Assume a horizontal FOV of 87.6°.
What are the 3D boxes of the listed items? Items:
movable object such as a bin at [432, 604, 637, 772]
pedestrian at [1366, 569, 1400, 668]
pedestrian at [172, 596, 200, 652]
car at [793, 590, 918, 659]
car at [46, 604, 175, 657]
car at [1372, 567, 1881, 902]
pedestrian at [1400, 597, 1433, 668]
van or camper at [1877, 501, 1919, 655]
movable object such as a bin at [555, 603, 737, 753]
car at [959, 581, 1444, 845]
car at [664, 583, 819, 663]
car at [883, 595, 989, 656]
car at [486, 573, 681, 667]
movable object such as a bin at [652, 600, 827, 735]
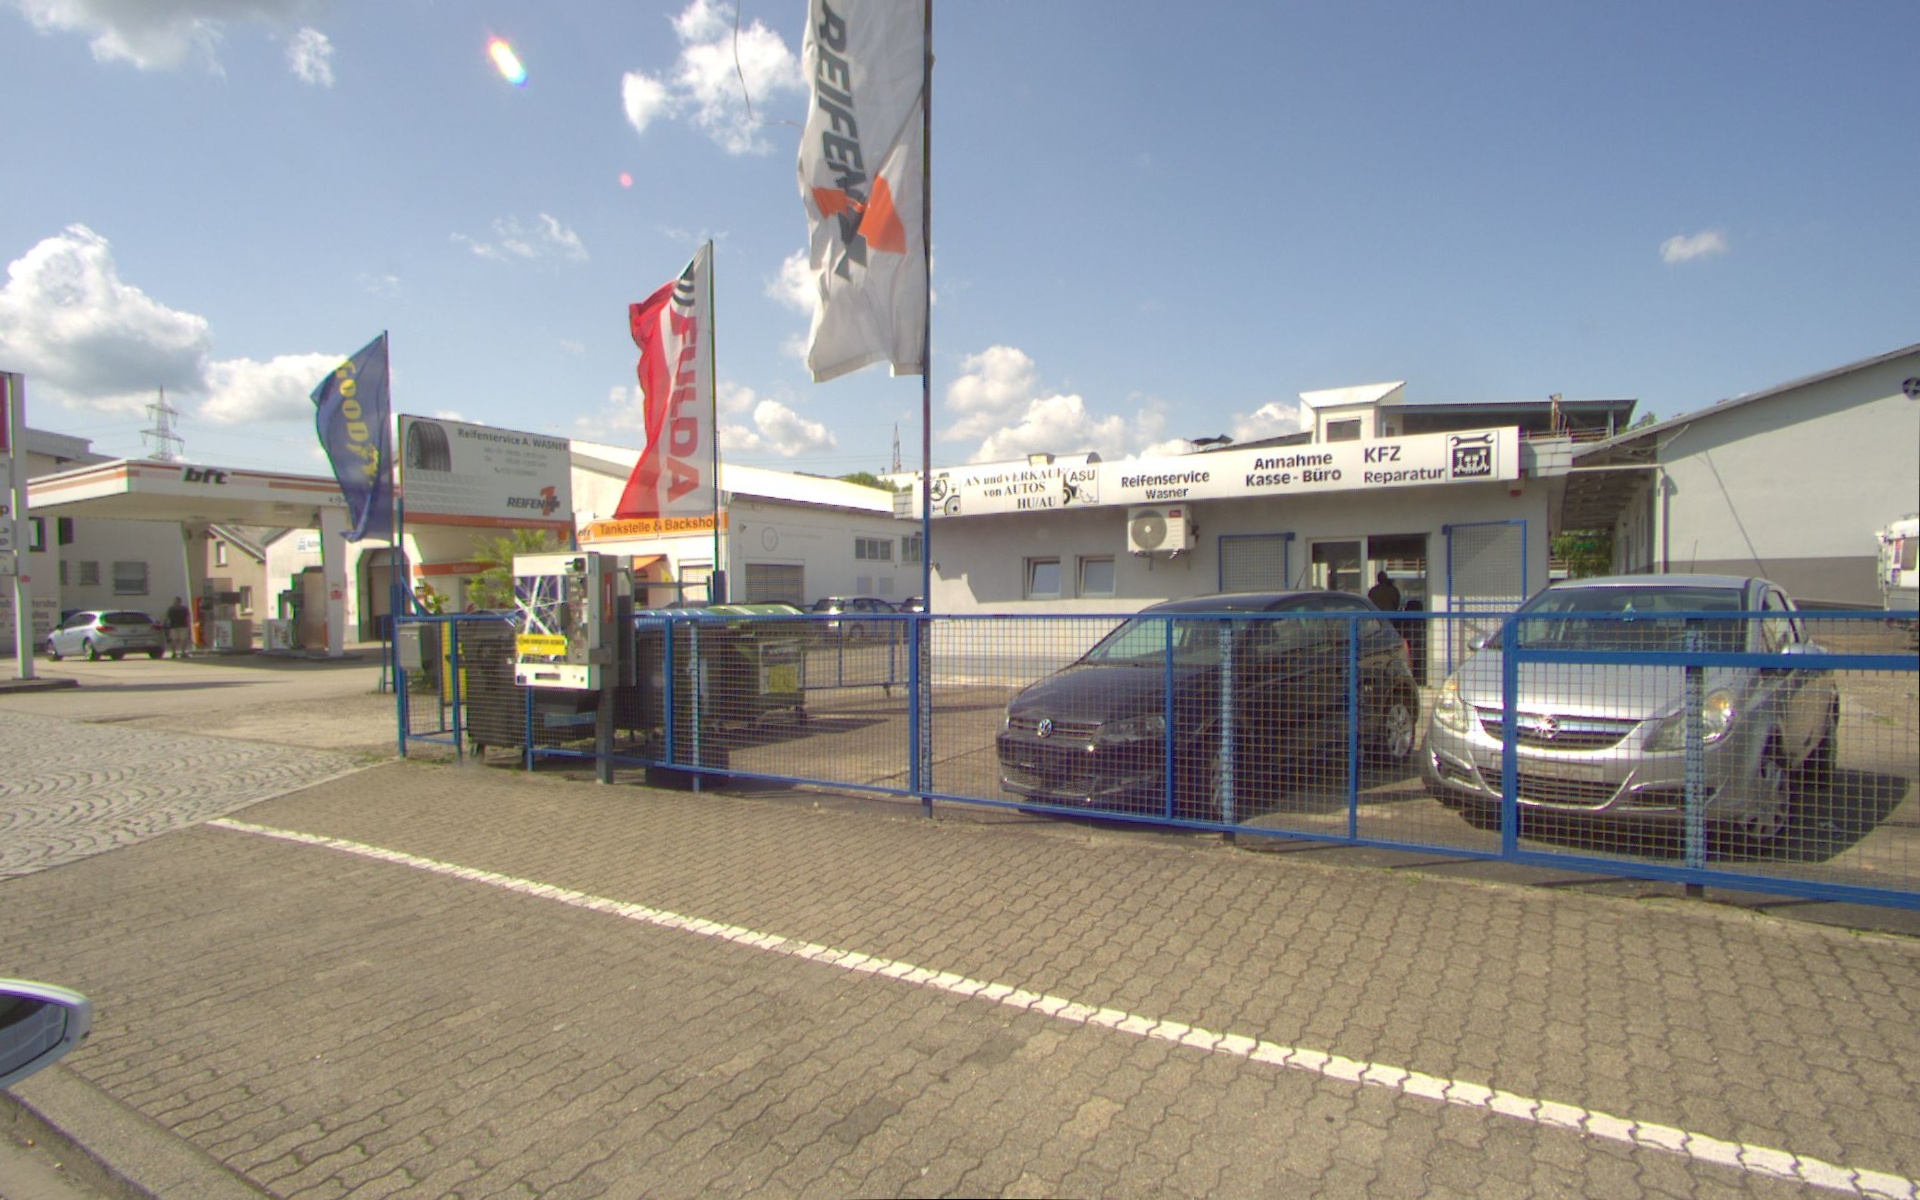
[{"bbox_3d":[-4.125,0.784,9.746,1.434,1.473,1.224,0,1,31],"label":"movable object such as a bin"},{"bbox_3d":[7.428,0.325,17.581,0.480,1.710,0.499,0,1,30],"label":"pedestrian"},{"bbox_3d":[-23.734,0.731,30.716,0.628,1.705,0.618,-1,1,-36],"label":"pedestrian"},{"bbox_3d":[-3.259,0.729,31.989,1.971,2.040,3.979,0,0,32],"label":"car"},{"bbox_3d":[-25.828,0.892,30.435,3.950,1.499,1.829,-1,1,31],"label":"car"},{"bbox_3d":[4.509,0.587,6.513,4.104,1.499,1.787,-1,0,-42],"label":"car"},{"bbox_3d":[7.985,0.562,17.527,0.480,1.229,0.499,0,1,30],"label":"pedestrian"},{"bbox_3d":[21.353,-0.460,19.323,4.983,3.002,2.276,0,1,31],"label":"van or camper"},{"bbox_3d":[-3.365,0.776,10.786,1.434,1.473,1.224,0,1,31],"label":"movable object such as a bin"},{"bbox_3d":[2.021,0.627,7.649,3.962,1.499,1.705,-1,1,-43],"label":"car"},{"bbox_3d":[-5.942,0.572,27.637,1.971,2.040,3.979,0,0,32],"label":"car"},{"bbox_3d":[-0.799,0.864,35.878,1.971,2.040,3.979,0,0,32],"label":"car"},{"bbox_3d":[-8.907,0.436,23.983,1.971,2.040,3.979,0,0,32],"label":"car"},{"bbox_3d":[-2.599,0.743,11.901,1.433,1.473,1.427,0,1,31],"label":"movable object such as a bin"}]
